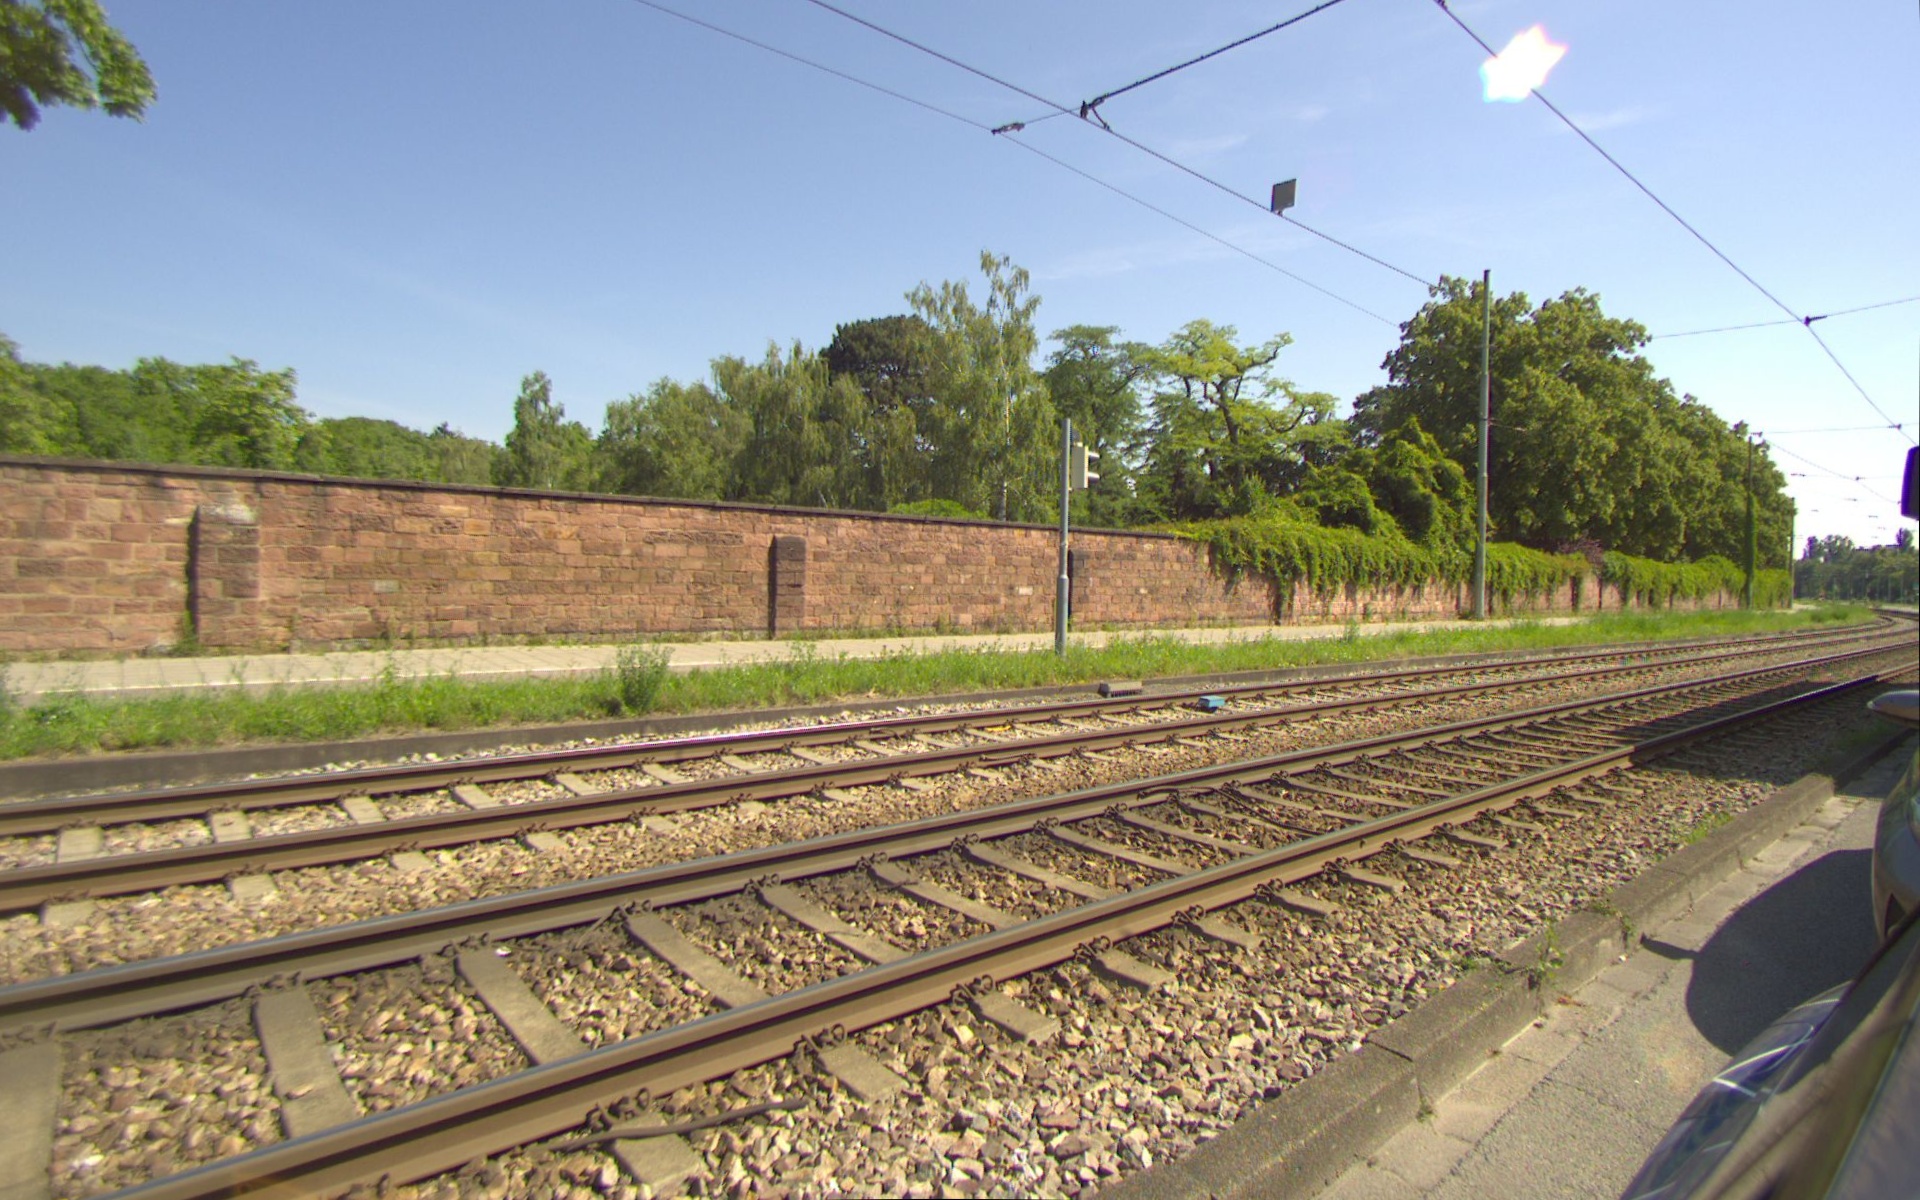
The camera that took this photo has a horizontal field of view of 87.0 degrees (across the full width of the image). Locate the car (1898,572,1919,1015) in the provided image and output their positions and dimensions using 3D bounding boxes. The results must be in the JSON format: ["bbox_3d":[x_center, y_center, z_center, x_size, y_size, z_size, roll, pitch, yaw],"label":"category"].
[{"bbox_3d":[5.120,0.665,4.030,3.930,1.448,1.573,0,2,-41],"label":"car"}]

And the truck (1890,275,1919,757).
[{"bbox_3d":[14.216,-0.637,12.023,14.652,3.927,2.934,0,2,-41],"label":"truck"}]
